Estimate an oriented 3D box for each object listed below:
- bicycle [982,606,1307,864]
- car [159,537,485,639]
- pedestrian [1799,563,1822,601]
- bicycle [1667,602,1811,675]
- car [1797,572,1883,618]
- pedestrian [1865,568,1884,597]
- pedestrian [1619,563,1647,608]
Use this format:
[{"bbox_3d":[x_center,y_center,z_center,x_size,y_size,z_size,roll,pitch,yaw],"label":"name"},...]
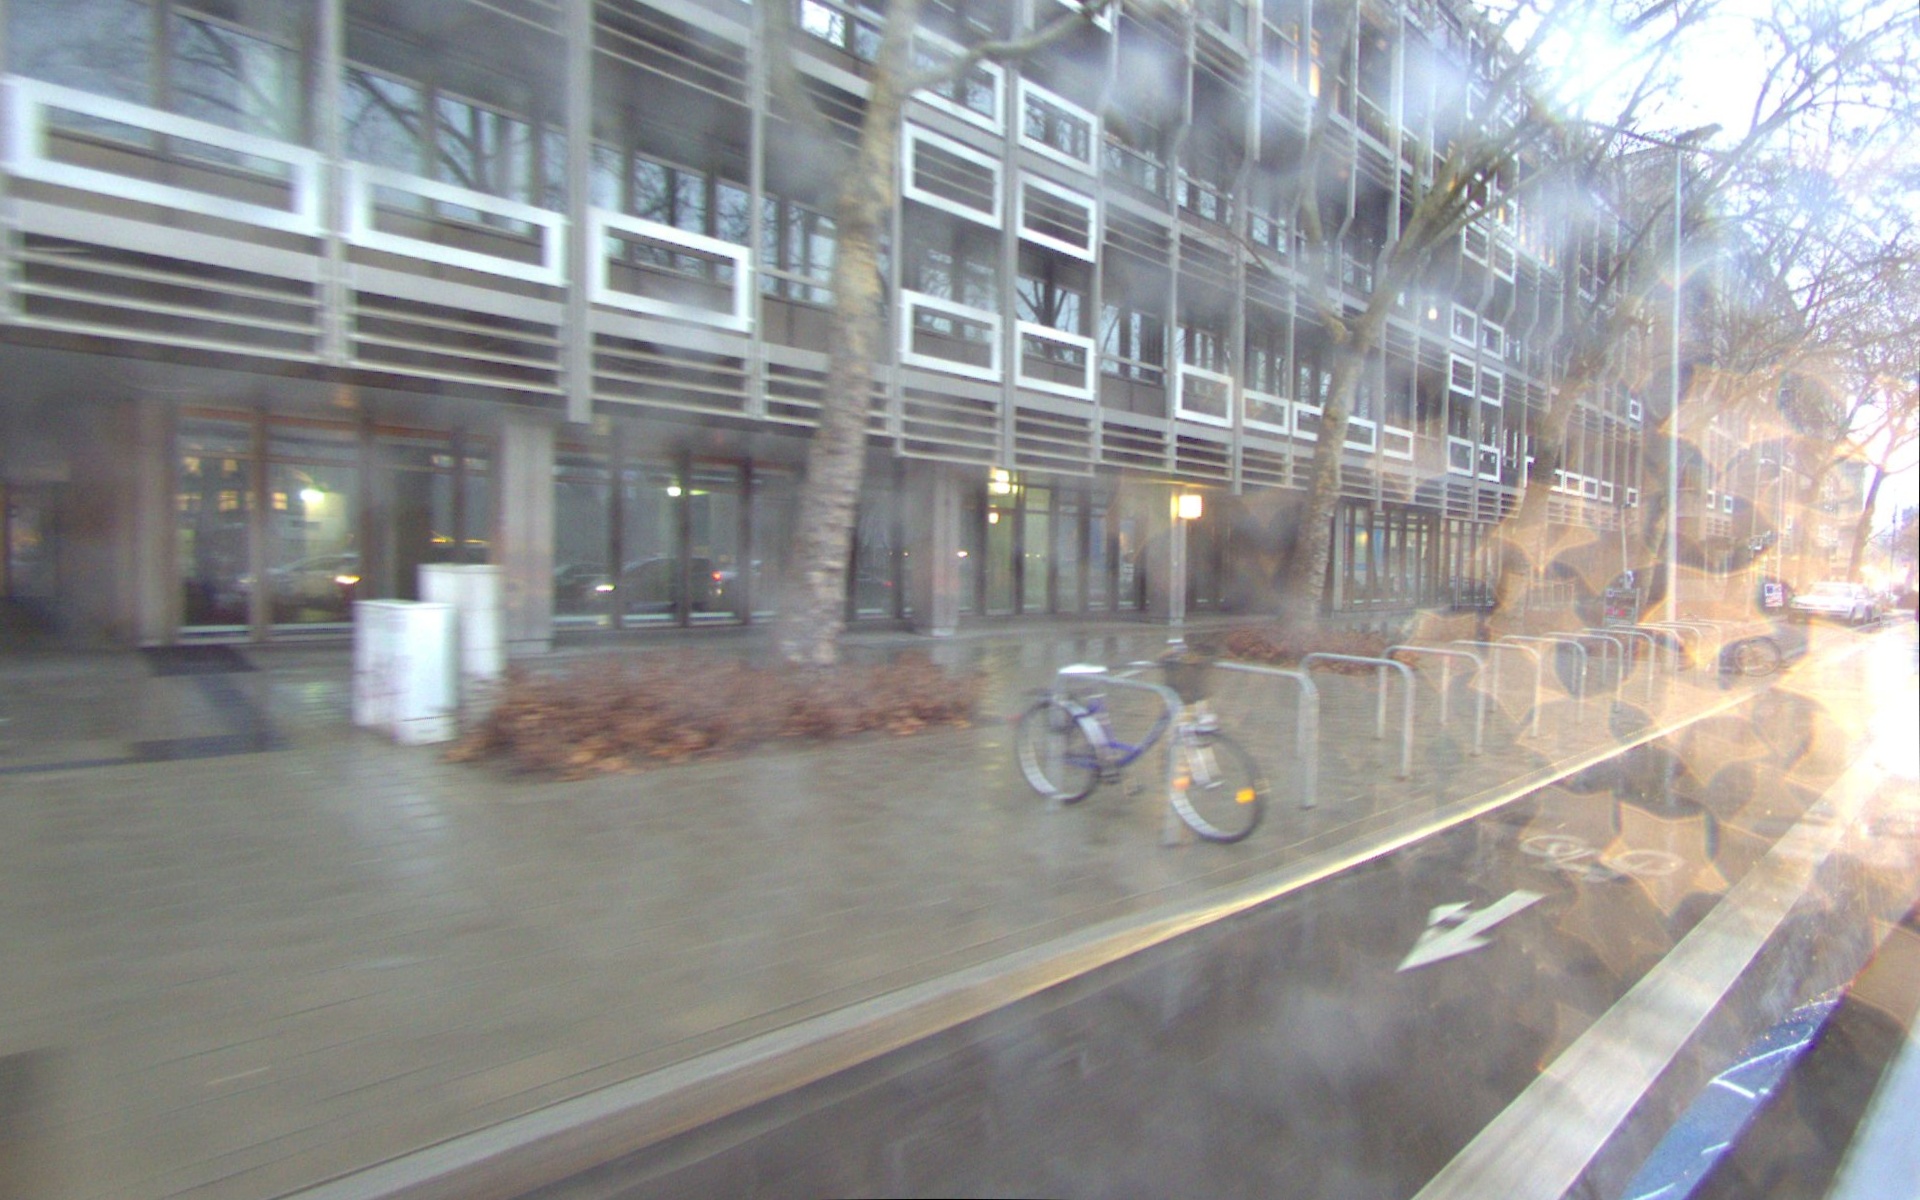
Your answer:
[{"bbox_3d":[0.986,0.670,5.850,0.629,1.145,1.810,1,3,-41],"label":"bicycle"},{"bbox_3d":[-9.474,-0.237,15.161,3.929,1.326,1.998,-1,4,-40],"label":"car"},{"bbox_3d":[41.182,-0.881,49.004,0.765,1.771,0.913,2,3,45],"label":"pedestrian"},{"bbox_3d":[12.774,0.597,16.625,0.864,1.004,1.704,-1,4,-41],"label":"bicycle"},{"bbox_3d":[30.358,-0.208,34.881,3.931,1.482,1.711,-2,2,-41],"label":"car"},{"bbox_3d":[57.112,-1.085,63.204,0.765,1.771,0.913,2,3,45],"label":"pedestrian"},{"bbox_3d":[27.189,-0.586,40.867,0.765,1.771,0.913,2,3,45],"label":"pedestrian"}]
